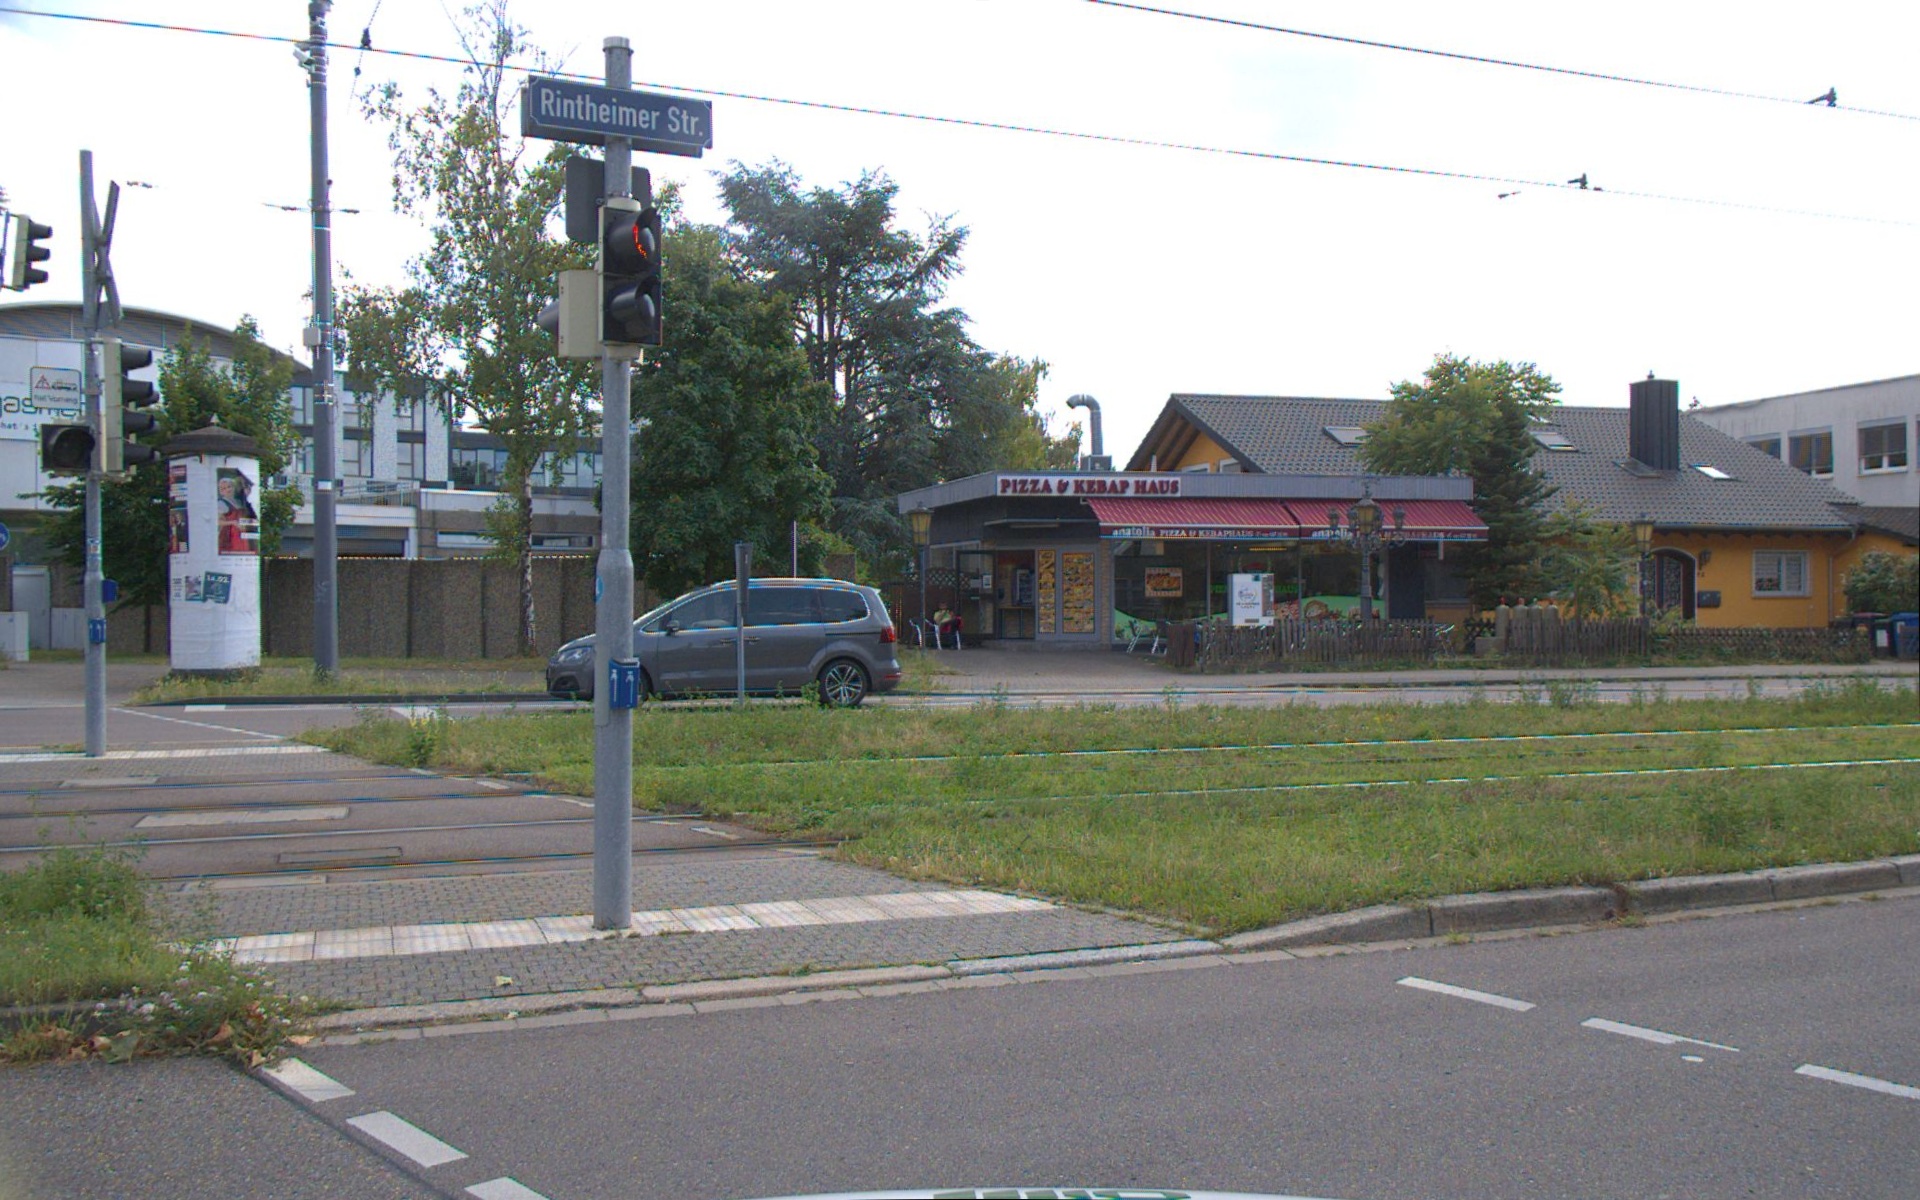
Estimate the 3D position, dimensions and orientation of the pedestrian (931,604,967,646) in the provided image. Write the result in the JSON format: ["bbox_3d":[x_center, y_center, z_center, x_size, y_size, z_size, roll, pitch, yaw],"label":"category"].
[{"bbox_3d":[-0.257,0.580,38.460,0.712,0.945,0.775,1,2,-11],"label":"pedestrian"}]

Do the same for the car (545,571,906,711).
[{"bbox_3d":[-3.207,0.503,22.343,4.647,1.752,1.992,0,0,-15],"label":"car"}]
